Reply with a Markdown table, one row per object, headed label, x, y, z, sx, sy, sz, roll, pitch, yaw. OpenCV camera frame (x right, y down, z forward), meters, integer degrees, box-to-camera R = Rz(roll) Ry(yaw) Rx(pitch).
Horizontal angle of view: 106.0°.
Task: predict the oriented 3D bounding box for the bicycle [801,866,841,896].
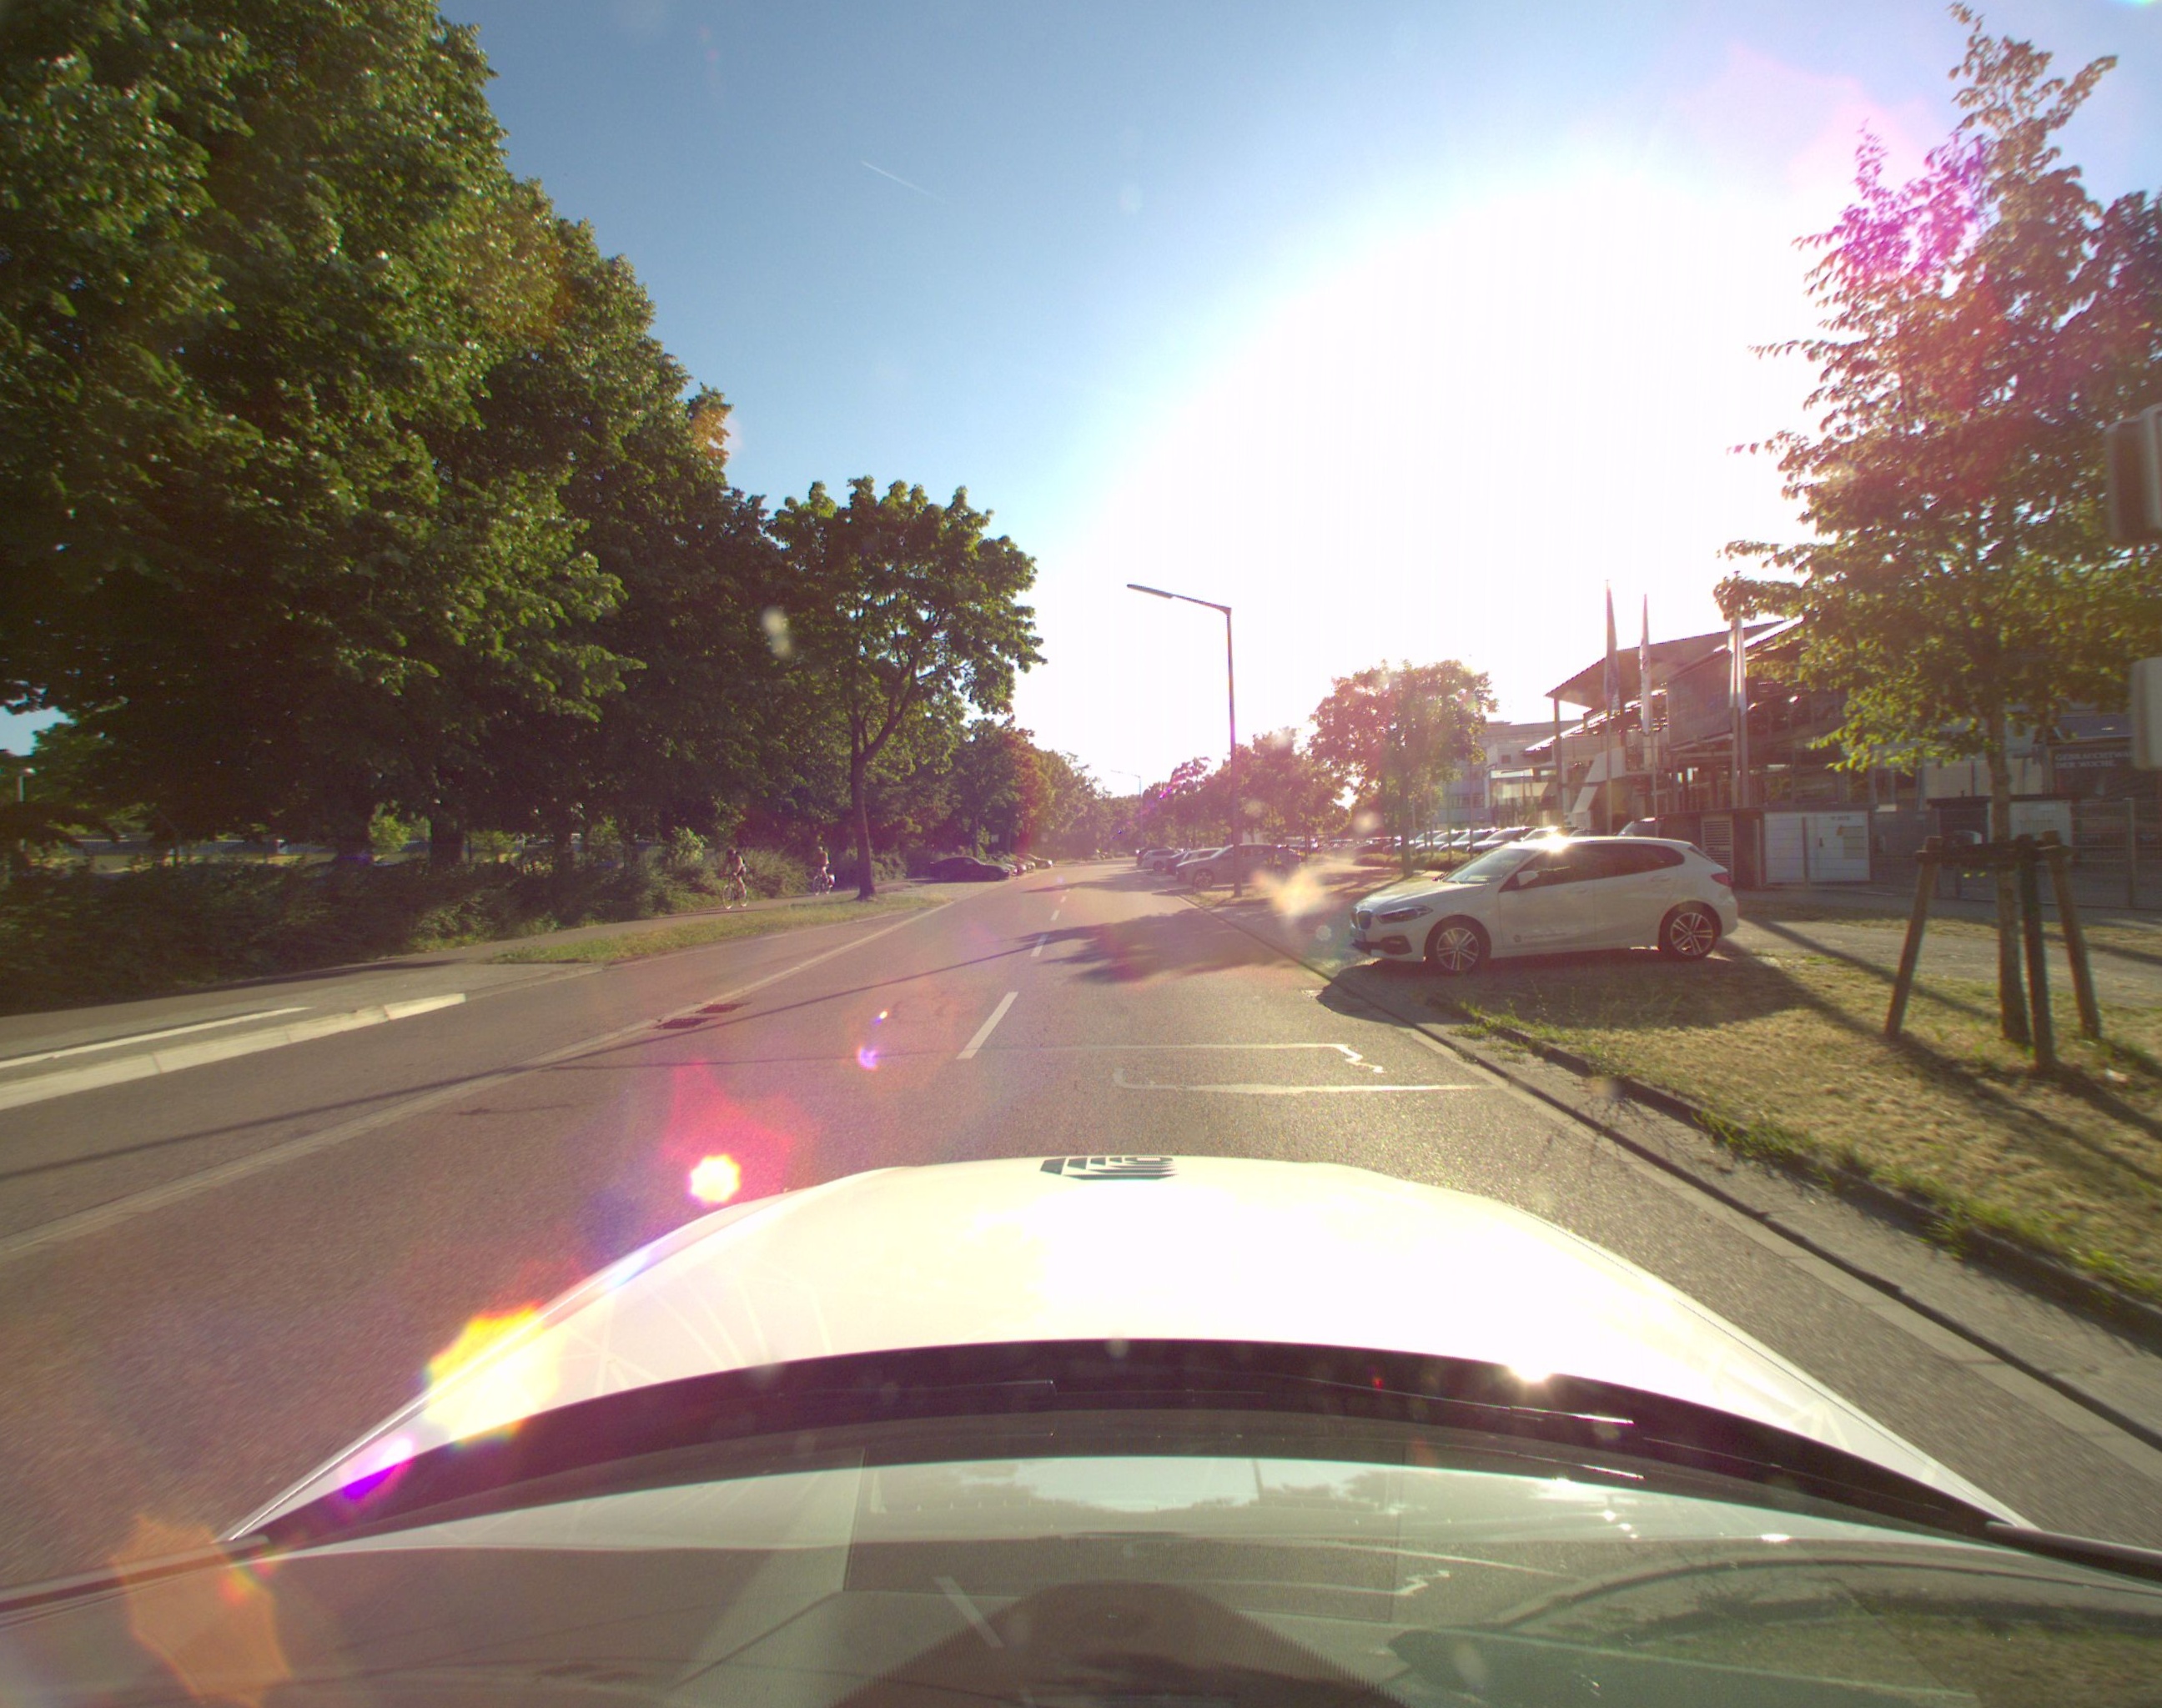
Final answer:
| label | x | y | z | sx | sy | sz | roll | pitch | yaw |
| --- | --- | --- | --- | --- | --- | --- | --- | --- | --- |
| bicycle | -10.105 | 1.027 | 31.758 | 0.763 | 1.039 | 2.218 | -2 | 0 | 2 |

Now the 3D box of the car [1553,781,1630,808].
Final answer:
| label | x | y | z | sx | sy | sz | roll | pitch | yaw |
| --- | --- | --- | --- | --- | --- | --- | --- | --- | --- |
| car | 33.902 | -3.917 | 54.197 | 3.958 | 1.666 | 1.794 | 1 | 1 | 14 |

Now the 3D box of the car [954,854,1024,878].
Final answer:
| label | x | y | z | sx | sy | sz | roll | pitch | yaw |
| --- | --- | --- | --- | --- | --- | --- | --- | --- | --- |
| car | -6.051 | 0.762 | 53.901 | 4.269 | 1.531 | 2.001 | 0 | 0 | 2 |

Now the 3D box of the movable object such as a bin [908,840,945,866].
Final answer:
| label | x | y | z | sx | sy | sz | roll | pitch | yaw |
| --- | --- | --- | --- | --- | --- | --- | --- | --- | --- |
| movable object such as a bin | -16.927 | -0.093 | 89.016 | 2.173 | 2.664 | 4.754 | -2 | 0 | -34 |

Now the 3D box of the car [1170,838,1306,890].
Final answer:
| label | x | y | z | sx | sy | sz | roll | pitch | yaw |
| --- | --- | --- | --- | --- | --- | --- | --- | --- | --- |
| car | 5.733 | 0.339 | 30.101 | 4.578 | 1.584 | 1.999 | -4 | 0 | -2 |

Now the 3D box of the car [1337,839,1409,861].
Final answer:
| label | x | y | z | sx | sy | sz | roll | pitch | yaw |
| --- | --- | --- | --- | --- | --- | --- | --- | --- | --- |
| car | 22.430 | -0.280 | 62.643 | 4.729 | 1.463 | 2.012 | -2 | 0 | 43 |

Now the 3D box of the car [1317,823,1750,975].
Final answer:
| label | x | y | z | sx | sy | sz | roll | pitch | yaw |
| --- | --- | --- | --- | --- | --- | --- | --- | --- | --- |
| car | 5.351 | 0.493 | 10.117 | 4.185 | 1.444 | 2.088 | -3 | 0 | -1 |

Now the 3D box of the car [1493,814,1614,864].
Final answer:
| label | x | y | z | sx | sy | sz | roll | pitch | yaw |
| --- | --- | --- | --- | --- | --- | --- | --- | --- | --- |
| car | 19.669 | -0.633 | 33.889 | 4.614 | 1.574 | 1.983 | -6 | 0 | -25 |

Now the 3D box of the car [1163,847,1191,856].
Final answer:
| label | x | y | z | sx | sy | sz | roll | pitch | yaw |
| --- | --- | --- | --- | --- | --- | --- | --- | --- | --- |
| car | 18.517 | -0.555 | 157.495 | 5.143 | 1.574 | 2.164 | -2 | 0 | 10 |

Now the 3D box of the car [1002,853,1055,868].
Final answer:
| label | x | y | z | sx | sy | sz | roll | pitch | yaw |
| --- | --- | --- | --- | --- | --- | --- | --- | --- | --- |
| car | -5.049 | 0.600 | 78.760 | 5.016 | 1.462 | 2.001 | 0 | 0 | 1 |

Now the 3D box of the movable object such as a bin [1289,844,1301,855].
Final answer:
| label | x | y | z | sx | sy | sz | roll | pitch | yaw |
| --- | --- | --- | --- | --- | --- | --- | --- | --- | --- |
| movable object such as a bin | 23.629 | -0.501 | 89.848 | 1.111 | 1.268 | 1.040 | -2 | 0 | 9 |

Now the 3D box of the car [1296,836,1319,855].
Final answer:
| label | x | y | z | sx | sy | sz | roll | pitch | yaw |
| --- | --- | --- | --- | --- | --- | --- | --- | --- | --- |
| car | 23.773 | -0.925 | 85.327 | 2.015 | 1.828 | 4.999 | -2 | 0 | 18 |

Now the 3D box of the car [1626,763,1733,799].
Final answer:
| label | x | y | z | sx | sy | sz | roll | pitch | yaw |
| --- | --- | --- | --- | --- | --- | --- | --- | --- | --- |
| car | 30.243 | -3.670 | 41.268 | 3.958 | 1.666 | 1.794 | 1 | 1 | 14 |

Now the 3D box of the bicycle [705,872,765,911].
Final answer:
| label | x | y | z | sx | sy | sz | roll | pitch | yaw |
| --- | --- | --- | --- | --- | --- | --- | --- | --- | --- |
| bicycle | -10.348 | 1.096 | 24.447 | 0.763 | 1.039 | 2.218 | -2 | 0 | 2 |

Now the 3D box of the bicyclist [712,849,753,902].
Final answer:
| label | x | y | z | sx | sy | sz | roll | pitch | yaw |
| --- | --- | --- | --- | --- | --- | --- | --- | --- | --- |
| bicyclist | -10.368 | 0.618 | 24.269 | 0.728 | 1.530 | 0.951 | -2 | 0 | 2 |

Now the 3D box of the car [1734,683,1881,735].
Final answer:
| label | x | y | z | sx | sy | sz | roll | pitch | yaw |
| --- | --- | --- | --- | --- | --- | --- | --- | --- | --- |
| car | 28.588 | -5.685 | 32.178 | 3.958 | 1.666 | 1.794 | 1 | 1 | 15 |

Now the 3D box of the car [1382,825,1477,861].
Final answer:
| label | x | y | z | sx | sy | sz | roll | pitch | yaw |
| --- | --- | --- | --- | --- | --- | --- | --- | --- | --- |
| car | 19.755 | -0.610 | 46.147 | 4.738 | 1.690 | 2.391 | -4 | 0 | -25 |

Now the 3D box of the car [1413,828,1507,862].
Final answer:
| label | x | y | z | sx | sy | sz | roll | pitch | yaw |
| --- | --- | --- | --- | --- | --- | --- | --- | --- | --- |
| car | 19.902 | -0.453 | 42.775 | 4.613 | 1.574 | 1.983 | -2 | 0 | -25 |

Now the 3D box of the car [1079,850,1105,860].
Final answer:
| label | x | y | z | sx | sy | sz | roll | pitch | yaw |
| --- | --- | --- | --- | --- | --- | --- | --- | --- | --- |
| car | 1.859 | 0.137 | 139.891 | 4.187 | 1.530 | 1.710 | -2 | 0 | 8 |

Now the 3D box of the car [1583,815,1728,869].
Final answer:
| label | x | y | z | sx | sy | sz | roll | pitch | yaw |
| --- | --- | --- | --- | --- | --- | --- | --- | --- | --- |
| car | 19.476 | -0.430 | 27.592 | 4.612 | 1.666 | 1.984 | -2 | 0 | -25 |

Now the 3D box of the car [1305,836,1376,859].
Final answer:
| label | x | y | z | sx | sy | sz | roll | pitch | yaw |
| --- | --- | --- | --- | --- | --- | --- | --- | --- | --- |
| car | 19.474 | -0.470 | 61.254 | 2.011 | 1.463 | 4.731 | -2 | 0 | -43 |

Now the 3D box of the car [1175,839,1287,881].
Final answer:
| label | x | y | z | sx | sy | sz | roll | pitch | yaw |
| --- | --- | --- | --- | --- | --- | --- | --- | --- | --- |
| car | 6.271 | 0.251 | 34.455 | 4.360 | 1.479 | 2.001 | -3 | 0 | 1 |

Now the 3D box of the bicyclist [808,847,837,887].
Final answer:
| label | x | y | z | sx | sy | sz | roll | pitch | yaw |
| --- | --- | --- | --- | --- | --- | --- | --- | --- | --- |
| bicyclist | -10.101 | 0.496 | 31.880 | 0.728 | 1.530 | 0.951 | -2 | 0 | 2 |

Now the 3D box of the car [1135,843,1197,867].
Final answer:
| label | x | y | z | sx | sy | sz | roll | pitch | yaw |
| --- | --- | --- | --- | --- | --- | --- | --- | --- | --- |
| car | 6.630 | 0.067 | 63.541 | 4.671 | 1.751 | 2.195 | -2 | 0 | 6 |

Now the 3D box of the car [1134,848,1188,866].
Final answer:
| label | x | y | z | sx | sy | sz | roll | pitch | yaw |
| --- | --- | --- | --- | --- | --- | --- | --- | --- | --- |
| car | 6.815 | 0.265 | 69.500 | 4.465 | 1.404 | 2.034 | -2 | 0 | 1 |

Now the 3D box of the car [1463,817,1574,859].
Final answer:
| label | x | y | z | sx | sy | sz | roll | pitch | yaw |
| --- | --- | --- | --- | --- | --- | --- | --- | --- | --- |
| car | 19.762 | -0.715 | 36.766 | 4.613 | 1.574 | 1.983 | -4 | 0 | -25 |

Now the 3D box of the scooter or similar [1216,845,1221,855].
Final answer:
| label | x | y | z | sx | sy | sz | roll | pitch | yaw |
| --- | --- | --- | --- | --- | --- | --- | --- | --- | --- |
| scooter or similar | 18.428 | -0.509 | 108.984 | 0.517 | 1.272 | 1.390 | -2 | 0 | 7 |

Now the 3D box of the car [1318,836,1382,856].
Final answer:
| label | x | y | z | sx | sy | sz | roll | pitch | yaw |
| --- | --- | --- | --- | --- | --- | --- | --- | --- | --- |
| car | 22.980 | -0.683 | 69.734 | 4.729 | 1.463 | 2.059 | -2 | 0 | 43 |

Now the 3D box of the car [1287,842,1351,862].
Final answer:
| label | x | y | z | sx | sy | sz | roll | pitch | yaw |
| --- | --- | --- | --- | --- | --- | --- | --- | --- | --- |
| car | 19.883 | -0.133 | 68.090 | 4.729 | 1.463 | 2.012 | -2 | 0 | 43 |

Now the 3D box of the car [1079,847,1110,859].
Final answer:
| label | x | y | z | sx | sy | sz | roll | pitch | yaw |
| --- | --- | --- | --- | --- | --- | --- | --- | --- | --- |
| car | 2.396 | -0.141 | 143.845 | 4.975 | 2.020 | 2.180 | -2 | 0 | 8 |

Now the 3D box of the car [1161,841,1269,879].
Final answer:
| label | x | y | z | sx | sy | sz | roll | pitch | yaw |
| --- | --- | --- | --- | --- | --- | --- | --- | --- | --- |
| car | 6.080 | 0.267 | 37.431 | 4.608 | 1.456 | 2.001 | -3 | 0 | 1 |

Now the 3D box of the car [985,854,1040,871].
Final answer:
| label | x | y | z | sx | sy | sz | roll | pitch | yaw |
| --- | --- | --- | --- | --- | --- | --- | --- | --- | --- |
| car | -5.812 | 0.718 | 69.173 | 4.463 | 1.462 | 2.001 | 0 | 0 | 1 |

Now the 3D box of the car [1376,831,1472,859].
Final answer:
| label | x | y | z | sx | sy | sz | roll | pitch | yaw |
| --- | --- | --- | --- | --- | --- | --- | --- | --- | --- |
| car | 21.303 | -0.539 | 50.763 | 2.011 | 1.571 | 5.128 | -2 | 0 | -43 |

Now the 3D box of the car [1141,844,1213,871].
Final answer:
| label | x | y | z | sx | sy | sz | roll | pitch | yaw |
| --- | --- | --- | --- | --- | --- | --- | --- | --- | --- |
| car | 6.537 | 0.229 | 55.922 | 4.678 | 1.479 | 2.001 | -3 | 2 | 1 |

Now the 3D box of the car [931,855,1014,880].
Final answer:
| label | x | y | z | sx | sy | sz | roll | pitch | yaw |
| --- | --- | --- | --- | --- | --- | --- | --- | --- | --- |
| car | -6.355 | 0.778 | 48.102 | 4.635 | 1.421 | 1.916 | 0 | 0 | -1 |

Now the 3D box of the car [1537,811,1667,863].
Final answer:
| label | x | y | z | sx | sy | sz | roll | pitch | yaw |
| --- | --- | --- | --- | --- | --- | --- | --- | --- | --- |
| car | 19.809 | -0.638 | 30.949 | 4.613 | 1.666 | 1.983 | -4 | 0 | -25 |

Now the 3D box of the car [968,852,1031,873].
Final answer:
| label | x | y | z | sx | sy | sz | roll | pitch | yaw |
| --- | --- | --- | --- | --- | --- | --- | --- | --- | --- |
| car | -6.140 | 0.611 | 61.564 | 4.463 | 1.531 | 2.001 | 0 | 0 | 1 |

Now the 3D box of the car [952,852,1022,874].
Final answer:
| label | x | y | z | sx | sy | sz | roll | pitch | yaw |
| --- | --- | --- | --- | --- | --- | --- | --- | --- | --- |
| car | -6.729 | 0.665 | 58.870 | 4.836 | 1.531 | 1.999 | 0 | 0 | -2 |

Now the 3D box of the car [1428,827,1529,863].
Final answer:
| label | x | y | z | sx | sy | sz | roll | pitch | yaw |
| --- | --- | --- | --- | --- | --- | --- | --- | --- | --- |
| car | 19.507 | -0.429 | 39.936 | 4.613 | 1.574 | 1.983 | -2 | 0 | -25 |
